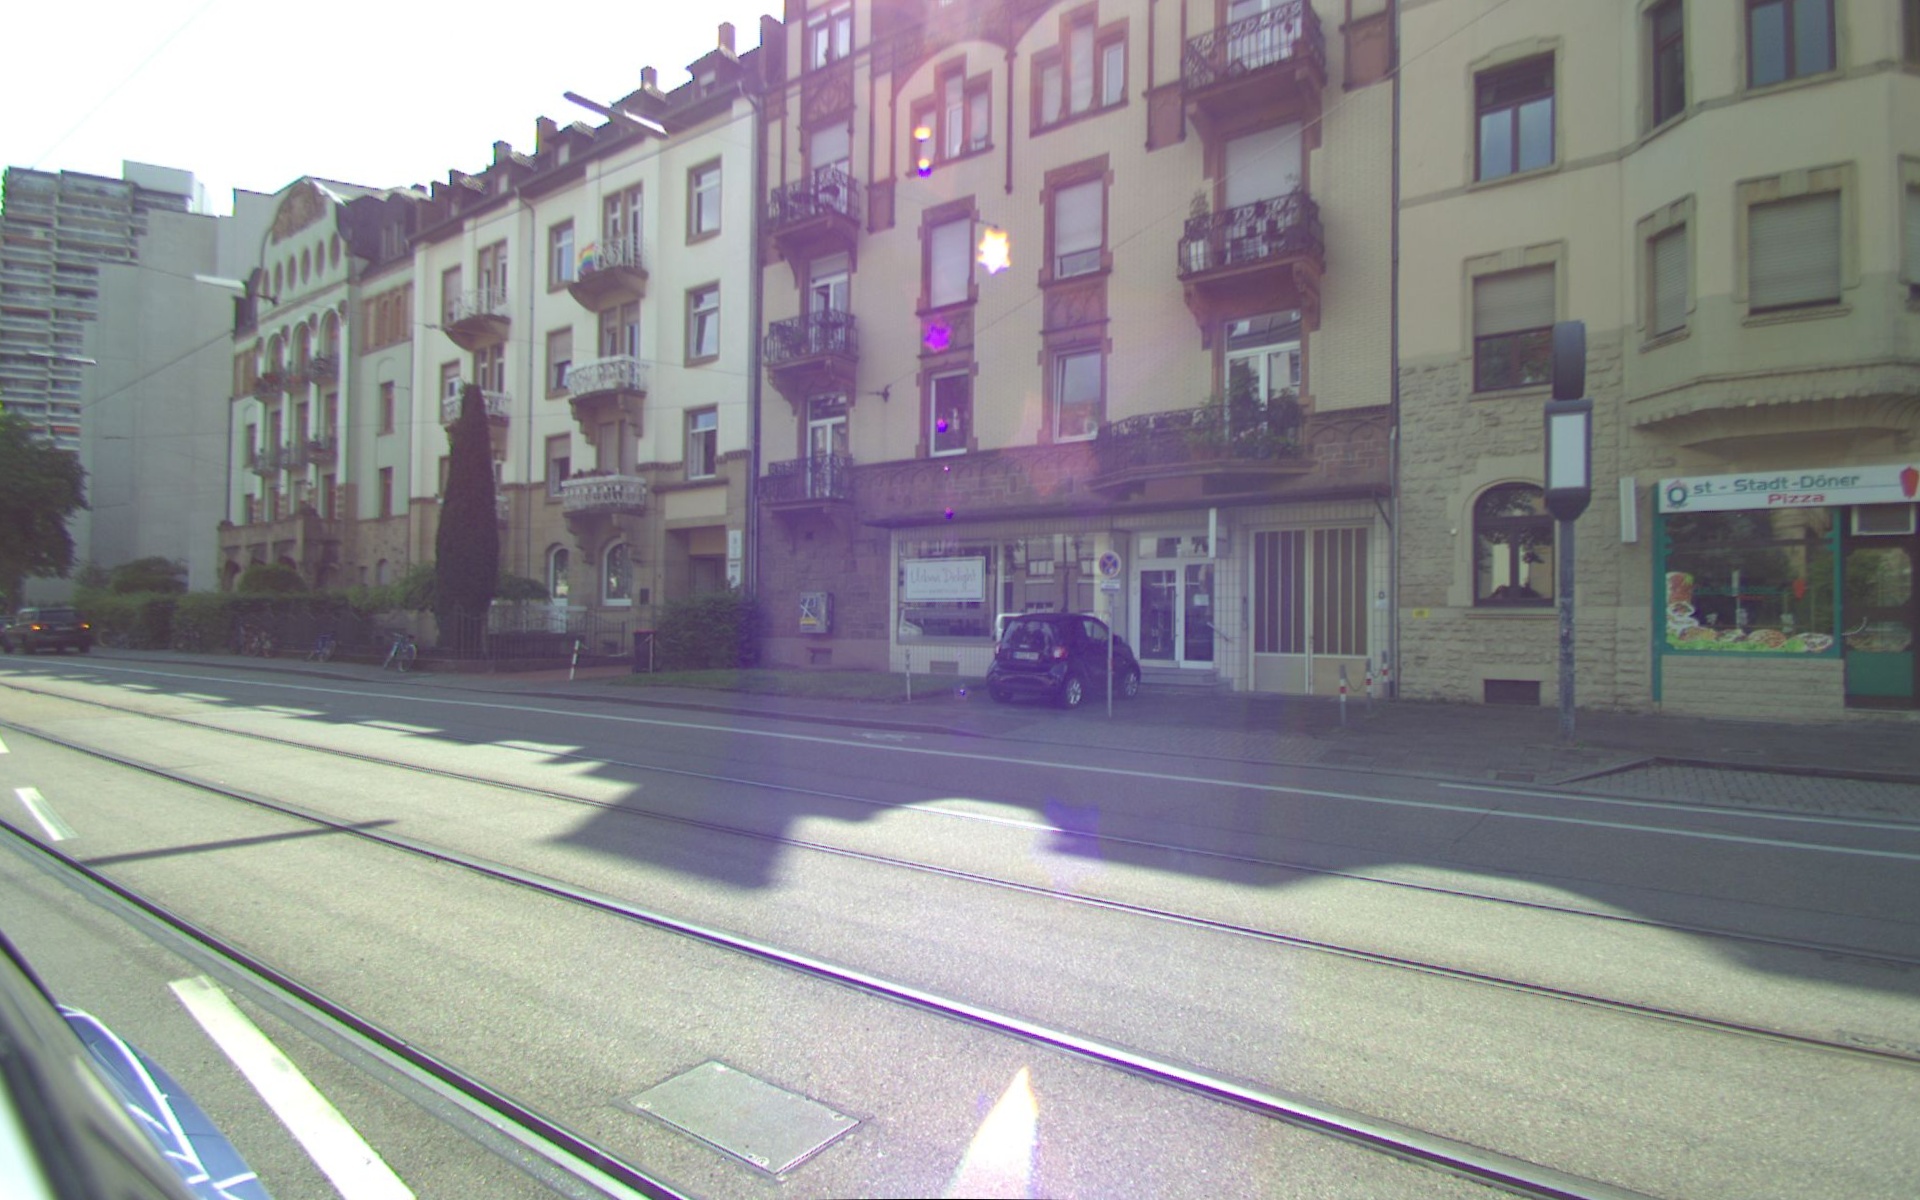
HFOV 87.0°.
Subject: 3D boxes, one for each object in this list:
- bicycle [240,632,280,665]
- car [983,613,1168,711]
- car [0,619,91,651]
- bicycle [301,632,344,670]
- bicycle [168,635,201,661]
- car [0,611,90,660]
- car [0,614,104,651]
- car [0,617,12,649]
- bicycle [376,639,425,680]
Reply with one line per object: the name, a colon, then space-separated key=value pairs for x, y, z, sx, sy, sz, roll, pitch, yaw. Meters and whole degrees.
bicycle: x=-22.255 y=1.530 z=32.167 sx=1.872 sy=0.993 sz=0.579 roll=0 pitch=-1 yaw=42
car: x=2.110 y=1.010 z=17.911 sx=1.704 sy=1.497 sz=3.411 roll=-1 pitch=0 yaw=38
car: x=-45.218 y=1.710 z=49.518 sx=1.633 sy=1.547 sz=3.842 roll=-1 pitch=-2 yaw=38
bicycle: x=-18.599 y=1.465 z=29.510 sx=1.872 sy=1.037 sz=0.532 roll=0 pitch=-1 yaw=42
bicycle: x=-27.301 y=1.681 z=35.630 sx=1.872 sy=0.803 sz=0.579 roll=0 pitch=1 yaw=42
car: x=-34.251 y=1.290 z=37.755 sx=4.323 sy=1.724 sz=1.775 roll=-1 pitch=-2 yaw=36
car: x=-42.914 y=1.513 z=47.720 sx=1.608 sy=1.652 sz=3.587 roll=0 pitch=-2 yaw=37
car: x=-58.285 y=1.913 z=59.160 sx=1.829 sy=1.940 sz=3.947 roll=-1 pitch=-2 yaw=39
bicycle: x=-14.483 y=1.521 z=26.185 sx=2.068 sy=0.913 sz=0.517 roll=2 pitch=0 yaw=45
